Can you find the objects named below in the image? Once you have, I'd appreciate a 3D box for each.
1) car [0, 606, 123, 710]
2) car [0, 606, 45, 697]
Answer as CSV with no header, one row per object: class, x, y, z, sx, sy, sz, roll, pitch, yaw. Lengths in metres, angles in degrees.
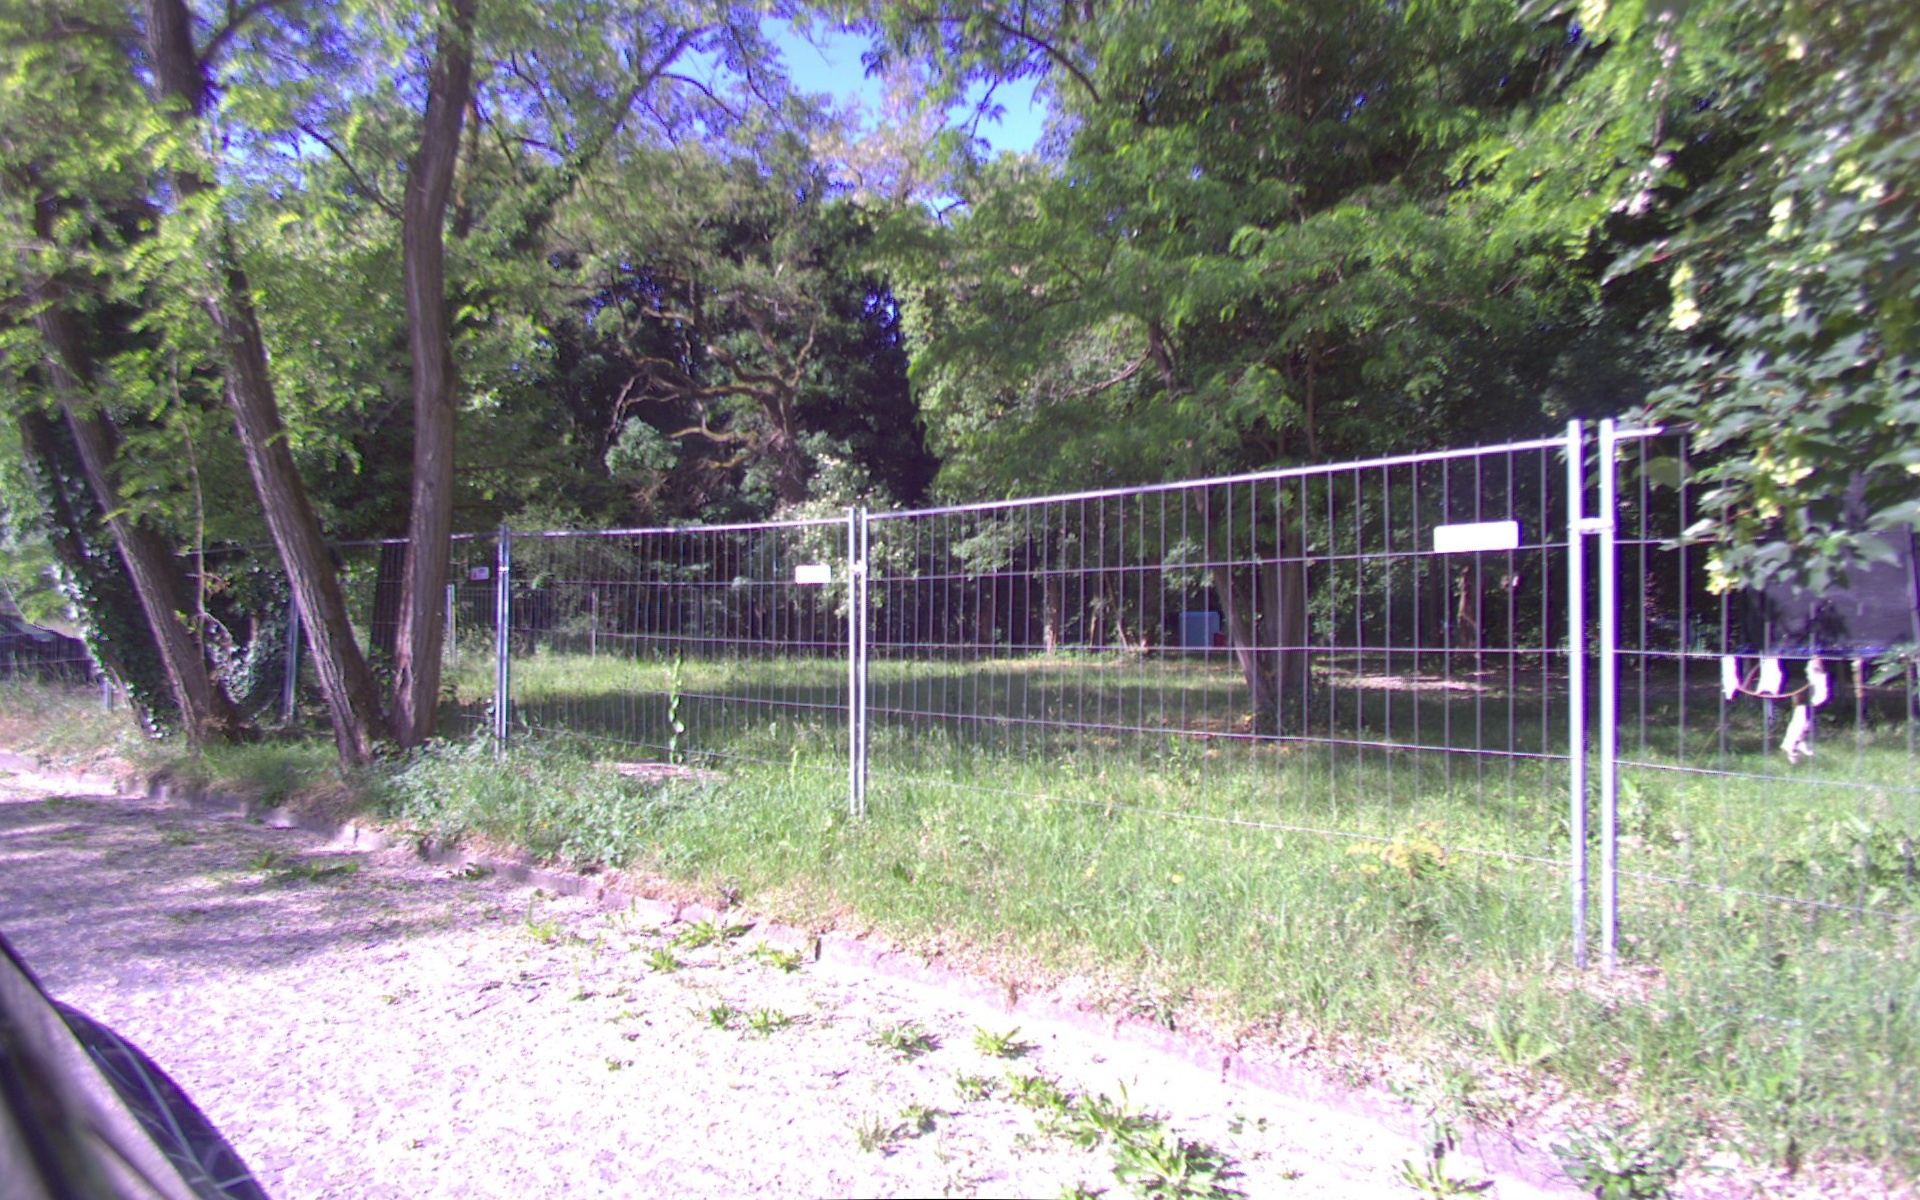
car,-16.447,0.942,16.296,1.781,1.664,4.268,-1,-1,22
car,-19.194,0.997,17.860,1.808,1.668,4.153,-1,0,26
